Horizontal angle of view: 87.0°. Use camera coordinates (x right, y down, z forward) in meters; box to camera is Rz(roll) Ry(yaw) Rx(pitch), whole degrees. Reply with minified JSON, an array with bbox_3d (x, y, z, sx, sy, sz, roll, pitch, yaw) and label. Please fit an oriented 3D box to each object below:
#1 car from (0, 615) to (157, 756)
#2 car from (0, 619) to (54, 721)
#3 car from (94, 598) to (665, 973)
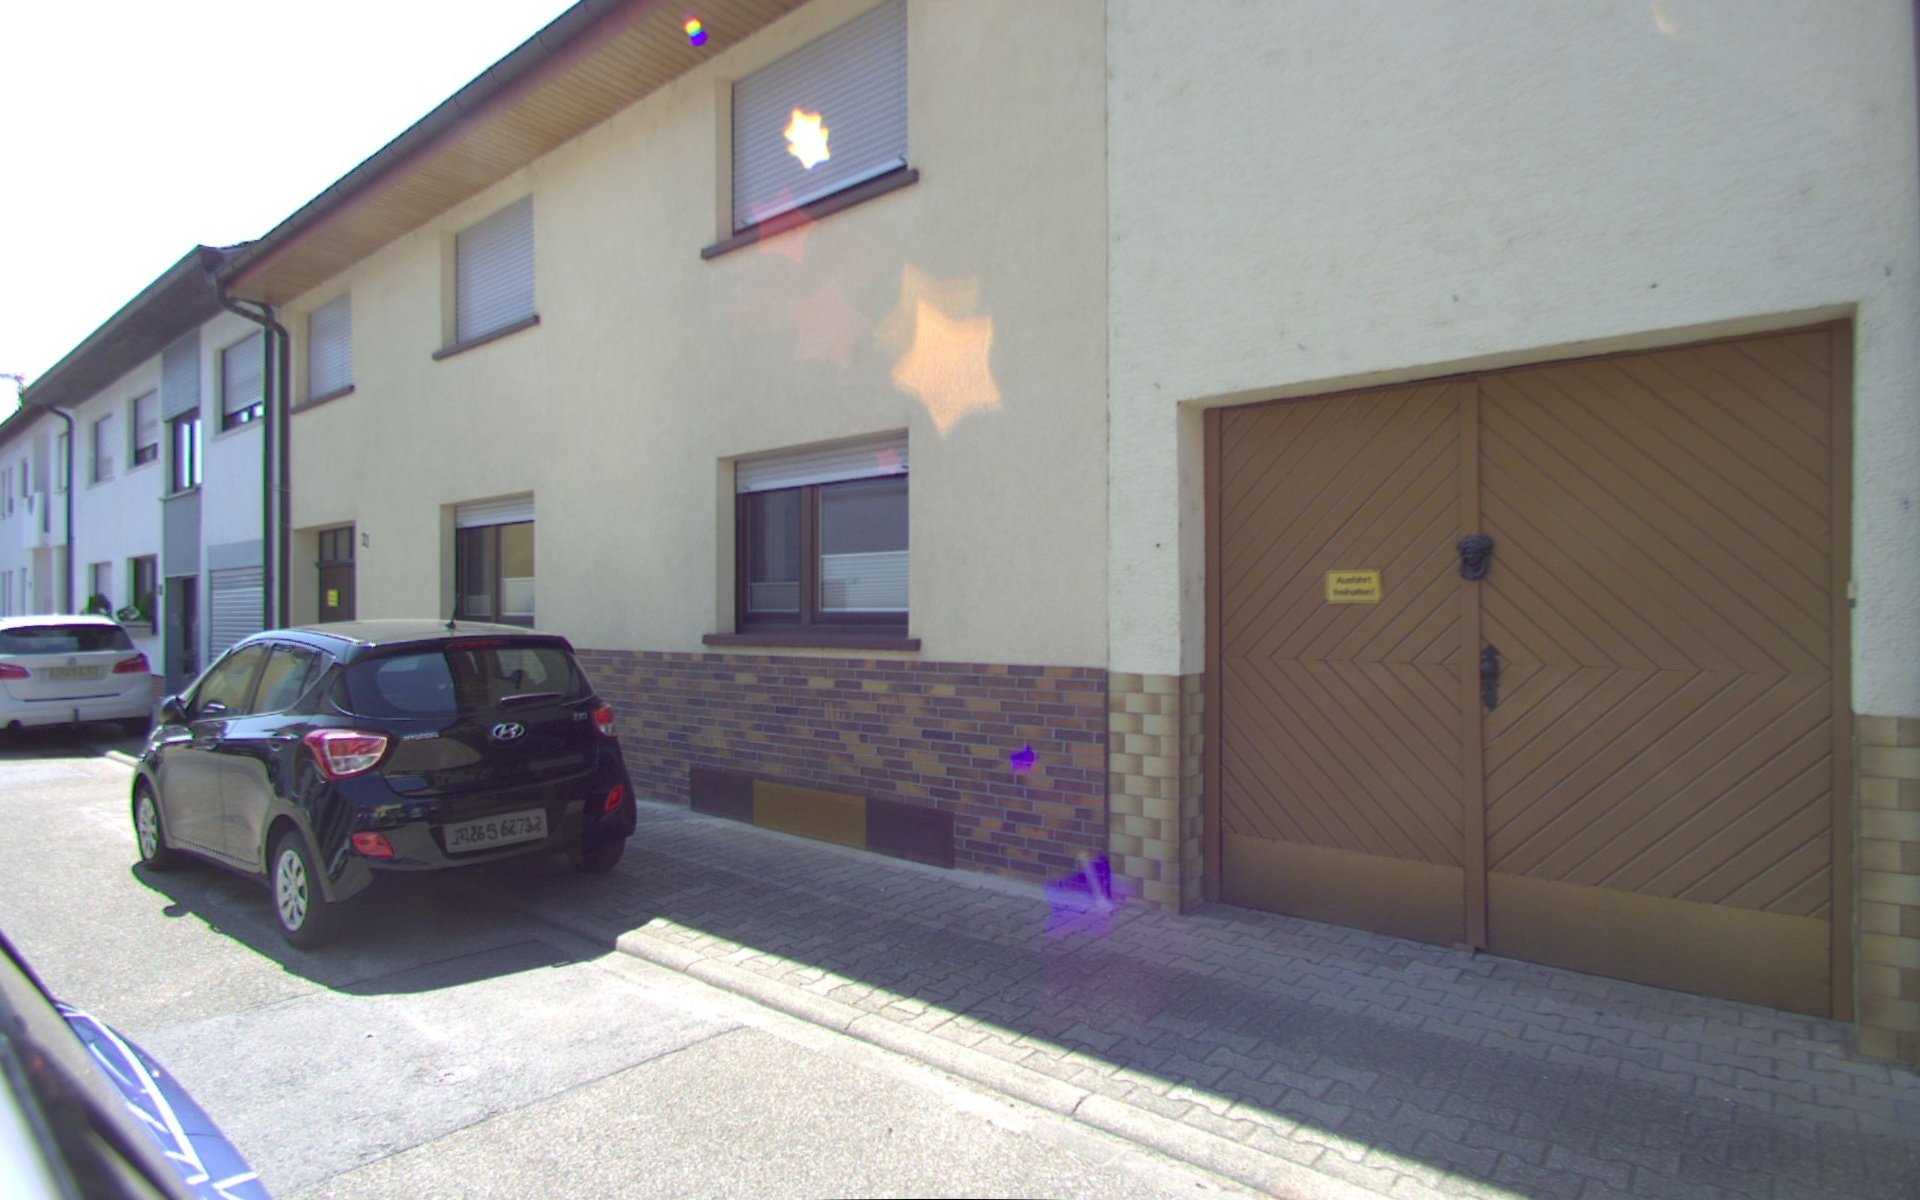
[{"bbox_3d":[-12.016,0.988,13.067,3.936,1.560,1.647,-1,0,37],"label":"car"},{"bbox_3d":[-16.159,1.087,16.312,3.682,1.553,1.647,-1,-1,37],"label":"car"},{"bbox_3d":[-3.646,0.807,6.077,3.937,1.549,1.624,-1,-2,38],"label":"car"}]
